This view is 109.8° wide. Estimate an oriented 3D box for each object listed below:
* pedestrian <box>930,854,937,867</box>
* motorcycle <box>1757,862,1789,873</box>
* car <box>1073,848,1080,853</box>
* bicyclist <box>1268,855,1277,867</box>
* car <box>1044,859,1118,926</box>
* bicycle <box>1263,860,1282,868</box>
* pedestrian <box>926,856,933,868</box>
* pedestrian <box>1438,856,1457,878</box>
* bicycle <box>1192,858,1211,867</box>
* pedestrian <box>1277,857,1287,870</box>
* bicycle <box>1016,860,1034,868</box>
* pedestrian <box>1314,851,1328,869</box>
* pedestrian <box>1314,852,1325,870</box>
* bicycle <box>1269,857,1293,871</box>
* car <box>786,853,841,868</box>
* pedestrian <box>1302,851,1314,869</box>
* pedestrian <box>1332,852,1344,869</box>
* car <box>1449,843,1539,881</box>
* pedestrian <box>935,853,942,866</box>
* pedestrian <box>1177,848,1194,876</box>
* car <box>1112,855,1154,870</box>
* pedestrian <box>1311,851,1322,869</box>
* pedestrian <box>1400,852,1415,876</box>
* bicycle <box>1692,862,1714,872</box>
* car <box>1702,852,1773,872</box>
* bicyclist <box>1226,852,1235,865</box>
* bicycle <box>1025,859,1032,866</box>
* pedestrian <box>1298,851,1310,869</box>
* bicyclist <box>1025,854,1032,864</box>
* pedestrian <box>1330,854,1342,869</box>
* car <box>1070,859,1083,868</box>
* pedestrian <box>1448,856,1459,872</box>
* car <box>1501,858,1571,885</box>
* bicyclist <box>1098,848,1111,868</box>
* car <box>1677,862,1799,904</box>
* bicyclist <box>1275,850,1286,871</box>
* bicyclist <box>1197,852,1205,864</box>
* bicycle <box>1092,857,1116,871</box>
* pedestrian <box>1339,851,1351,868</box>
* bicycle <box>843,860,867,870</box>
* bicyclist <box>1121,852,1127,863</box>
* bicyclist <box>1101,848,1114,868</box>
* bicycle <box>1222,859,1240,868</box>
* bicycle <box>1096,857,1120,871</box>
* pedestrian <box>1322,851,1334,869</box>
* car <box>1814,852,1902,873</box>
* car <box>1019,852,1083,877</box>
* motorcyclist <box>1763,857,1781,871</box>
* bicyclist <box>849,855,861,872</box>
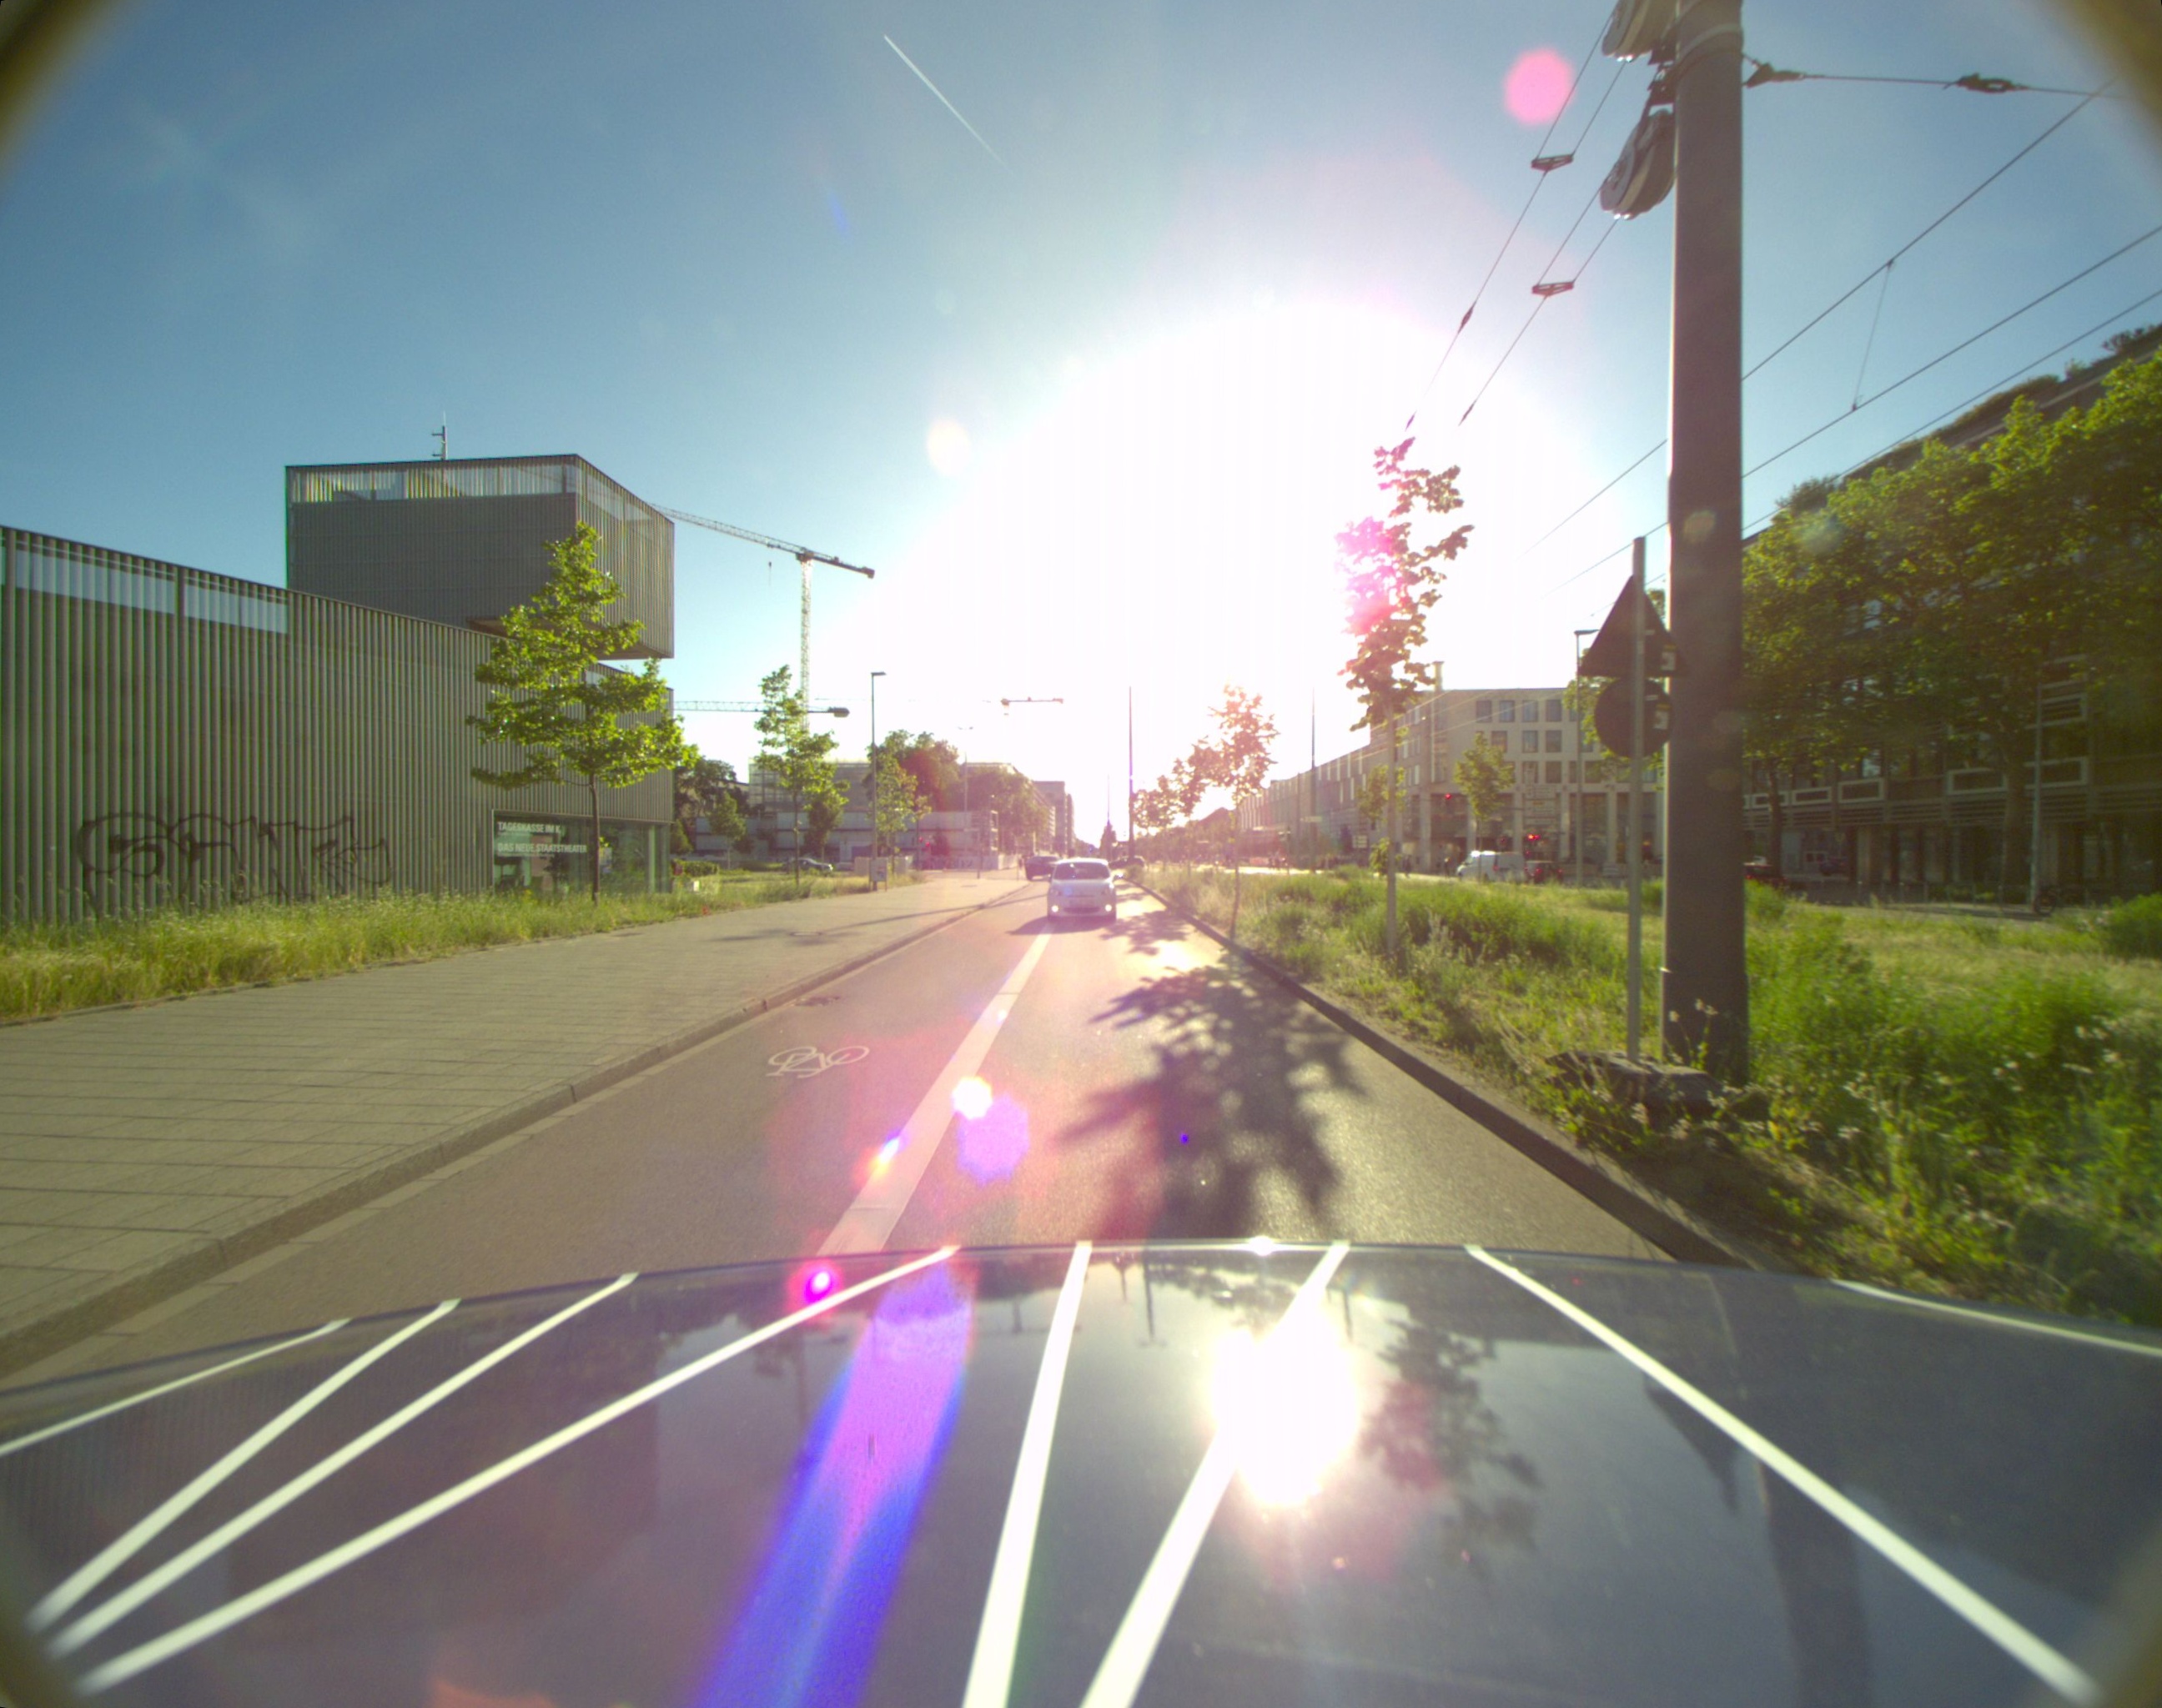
[{"bbox_3d":[-18.615,0.810,96.066,0.653,1.580,0.841,0,0,7],"label":"pedestrian"},{"bbox_3d":[72.439,1.417,79.542,0.915,0.990,2.676,0,2,0],"label":"motorcycle"},{"bbox_3d":[-1.190,-0.998,203.678,1.785,1.317,3.999,0,2,0],"label":"car"},{"bbox_3d":[23.090,0.846,91.703,0.841,1.349,0.805,-1,1,2],"label":"bicyclist"},{"bbox_3d":[0.086,0.887,19.293,1.659,1.463,3.969,-1,0,3],"label":"car"},{"bbox_3d":[23.102,1.255,91.705,2.075,0.922,0.805,-1,1,2],"label":"bicycle"},{"bbox_3d":[-19.037,0.971,95.275,0.653,1.445,0.604,0,0,7],"label":"pedestrian"},{"bbox_3d":[27.080,0.968,56.136,0.923,1.540,0.898,-2,0,-3],"label":"pedestrian"},{"bbox_3d":[13.975,0.999,88.173,2.074,0.973,0.806,-1,1,12],"label":"bicycle"},{"bbox_3d":[23.506,1.096,88.896,0.841,1.562,0.945,0,1,-3],"label":"pedestrian"},{"bbox_3d":[-7.202,1.267,97.774,2.072,0.922,0.807,-1,1,23],"label":"bicycle"},{"bbox_3d":[27.894,0.661,88.362,1.100,2.117,1.060,-1,1,-38],"label":"pedestrian"},{"bbox_3d":[28.911,0.827,92.004,0.948,2.111,0.896,0,1,-33],"label":"pedestrian"},{"bbox_3d":[15.833,0.791,60.260,1.797,1.087,0.709,0,0,10],"label":"bicycle"},{"bbox_3d":[-24.852,0.606,70.603,4.520,1.344,1.777,0,1,8],"label":"car"},{"bbox_3d":[26.513,0.660,88.718,0.949,2.111,0.896,-1,1,-39],"label":"pedestrian"},{"bbox_3d":[30.390,0.737,89.882,1.025,2.002,0.915,0,1,-30],"label":"pedestrian"},{"bbox_3d":[23.923,0.428,44.283,2.264,2.002,5.710,2,0,2],"label":"car"},{"bbox_3d":[-18.227,0.740,97.004,0.653,1.670,0.841,0,0,7],"label":"pedestrian"},{"bbox_3d":[7.295,0.536,52.914,1.050,1.900,1.015,0,1,0],"label":"pedestrian"},{"bbox_3d":[5.476,0.887,79.829,4.289,1.571,1.945,0,0,5],"label":"car"},{"bbox_3d":[27.934,0.660,90.091,0.948,2.111,0.896,0,1,-33],"label":"pedestrian"},{"bbox_3d":[23.653,0.743,55.045,0.739,1.734,0.858,-1,0,-1],"label":"pedestrian"},{"bbox_3d":[66.341,1.391,81.065,0.659,1.104,2.477,0,0,8],"label":"bicycle"},{"bbox_3d":[60.659,0.704,70.290,4.544,1.703,2.126,0,2,10],"label":"car"},{"bbox_3d":[17.317,0.514,87.963,0.940,1.536,0.649,-1,0,6],"label":"bicyclist"},{"bbox_3d":[-6.911,1.155,100.507,0.805,0.922,2.076,-1,0,-2],"label":"bicycle"},{"bbox_3d":[26.412,0.656,90.051,0.948,2.111,0.896,0,1,-28],"label":"pedestrian"},{"bbox_3d":[-6.920,0.674,100.509,0.805,1.290,0.776,-1,1,-2],"label":"bicyclist"},{"bbox_3d":[29.433,0.851,87.635,0.950,1.641,1.005,-1,1,-39],"label":"pedestrian"},{"bbox_3d":[-0.692,1.435,117.692,1.784,1.317,3.999,0,2,1],"label":"car"},{"bbox_3d":[40.125,1.107,81.852,0.756,1.730,0.753,0,1,5],"label":"pedestrian"},{"bbox_3d":[26.952,1.008,45.157,1.844,1.477,3.880,3,0,2],"label":"car"},{"bbox_3d":[1.896,0.335,61.680,0.896,1.566,0.624,0,1,-22],"label":"bicyclist"},{"bbox_3d":[26.243,1.104,30.519,1.715,1.444,3.575,3,0,0],"label":"car"},{"bbox_3d":[15.829,0.484,60.247,0.785,1.659,0.702,0,0,10],"label":"bicyclist"},{"bbox_3d":[13.927,0.471,88.184,0.841,1.394,0.806,-1,1,12],"label":"bicyclist"},{"bbox_3d":[1.886,0.779,61.678,1.818,1.110,0.624,0,0,-22],"label":"bicycle"},{"bbox_3d":[31.579,0.640,90.737,1.025,2.002,0.915,0,1,-33],"label":"pedestrian"},{"bbox_3d":[-20.387,0.988,68.583,1.909,0.903,0.624,0,1,-2],"label":"bicycle"},{"bbox_3d":[6.238,0.490,109.668,0.756,1.496,0.617,0,1,-1],"label":"bicyclist"},{"bbox_3d":[2.098,0.320,60.960,0.848,1.534,0.651,0,1,-21],"label":"bicyclist"},{"bbox_3d":[17.330,1.093,87.962,1.976,0.991,0.649,-1,0,6],"label":"bicycle"},{"bbox_3d":[2.136,0.778,60.989,1.802,1.087,0.651,0,0,-20],"label":"bicycle"},{"bbox_3d":[29.710,0.723,91.379,0.948,2.111,0.896,0,1,-29],"label":"pedestrian"},{"bbox_3d":[64.814,0.705,63.443,4.786,1.652,2.202,0,0,6],"label":"car"},{"bbox_3d":[-2.088,0.677,52.027,2.004,1.652,4.779,0,0,-38],"label":"car"},{"bbox_3d":[72.428,1.019,79.610,0.915,1.463,1.039,0,2,0],"label":"motorcyclist"},{"bbox_3d":[-20.397,0.879,68.583,0.937,1.495,0.624,0,2,-2],"label":"bicyclist"}]
